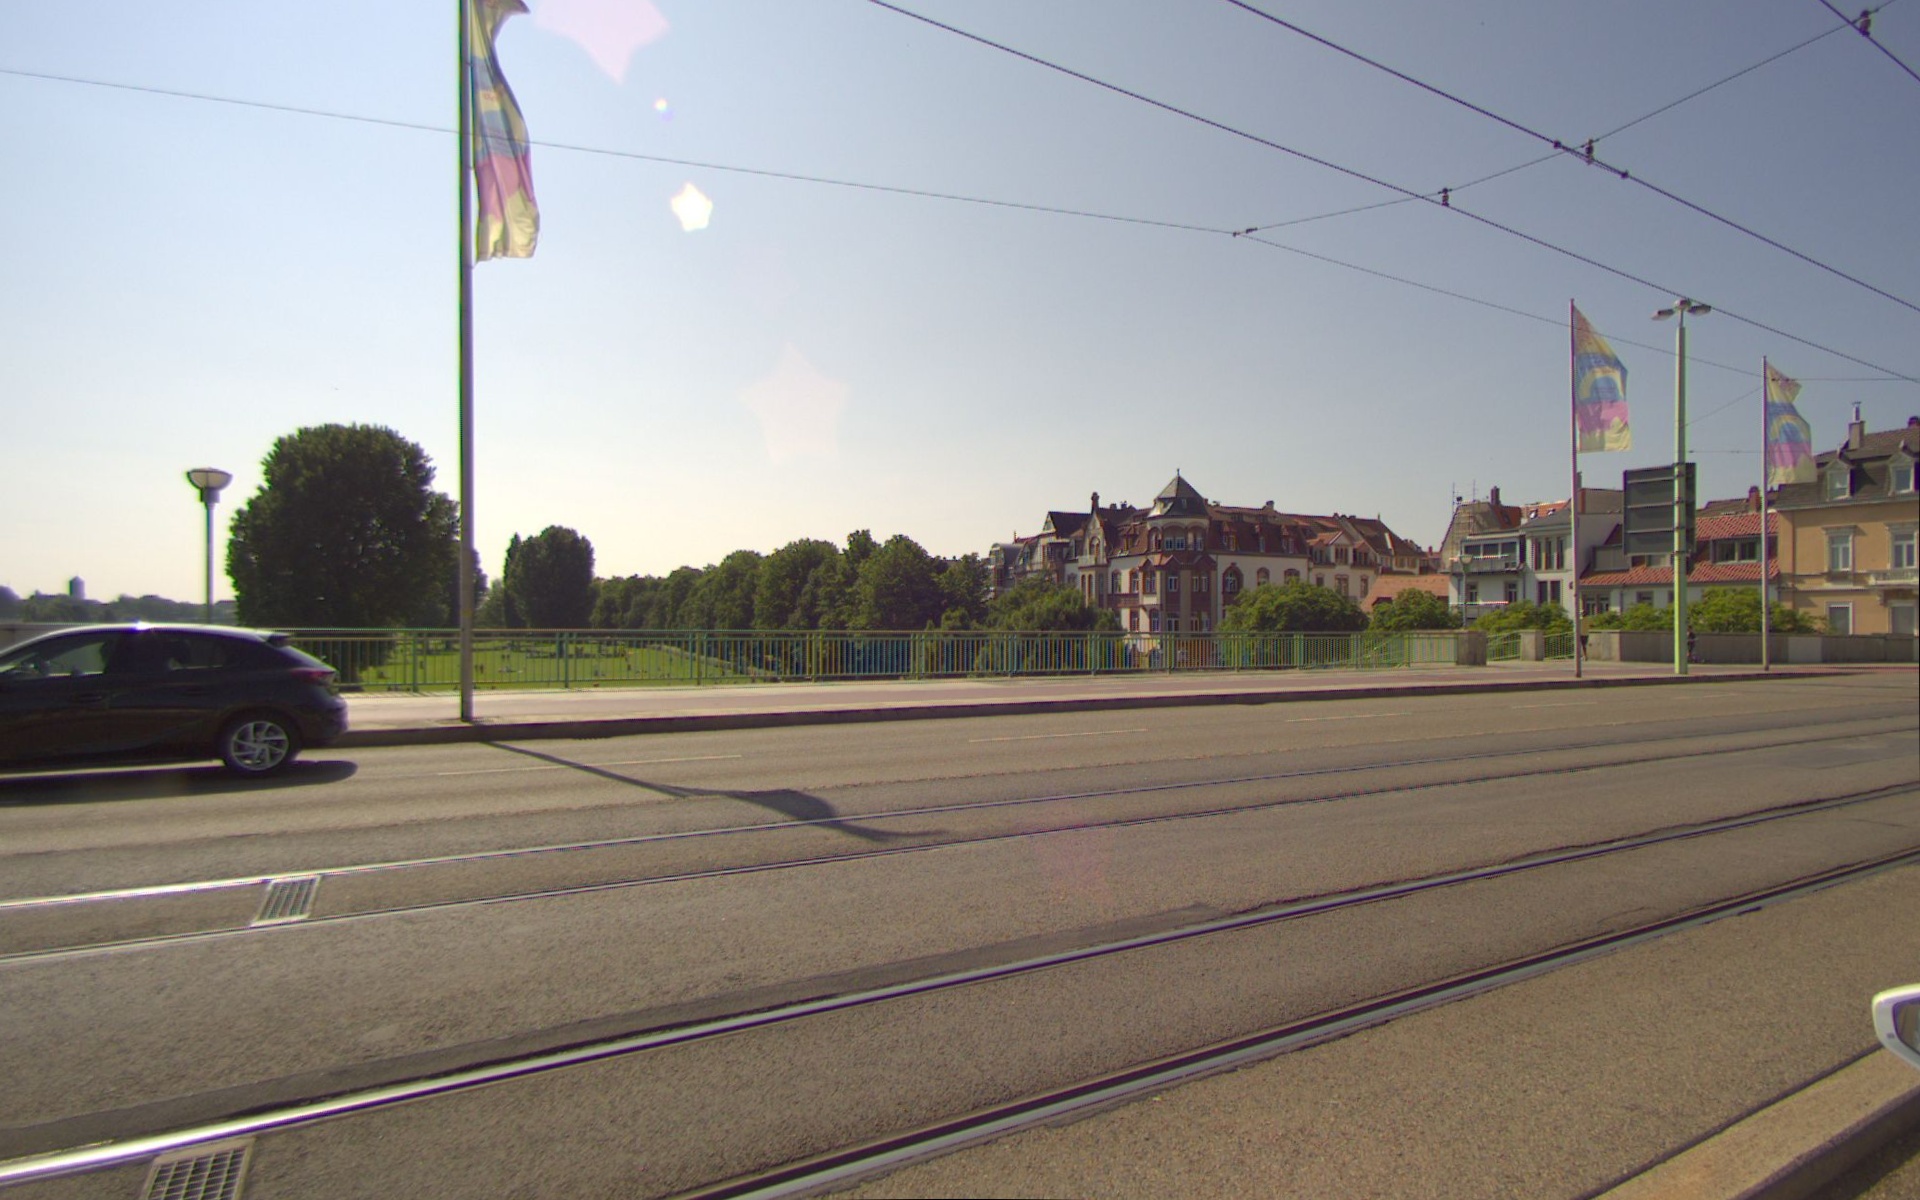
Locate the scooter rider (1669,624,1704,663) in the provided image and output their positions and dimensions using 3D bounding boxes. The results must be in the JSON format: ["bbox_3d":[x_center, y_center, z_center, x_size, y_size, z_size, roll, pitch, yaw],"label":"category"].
[{"bbox_3d":[26.515,1.573,36.647,0.589,1.333,0.767,2,3,-18],"label":"scooter rider"}]

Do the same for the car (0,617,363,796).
[{"bbox_3d":[-7.828,0.914,9.349,3.856,1.473,1.708,1,-2,-31],"label":"car"}]

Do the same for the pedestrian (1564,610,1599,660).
[{"bbox_3d":[22.569,1.264,36.493,0.788,1.804,0.745,0,-1,-17],"label":"pedestrian"}]
